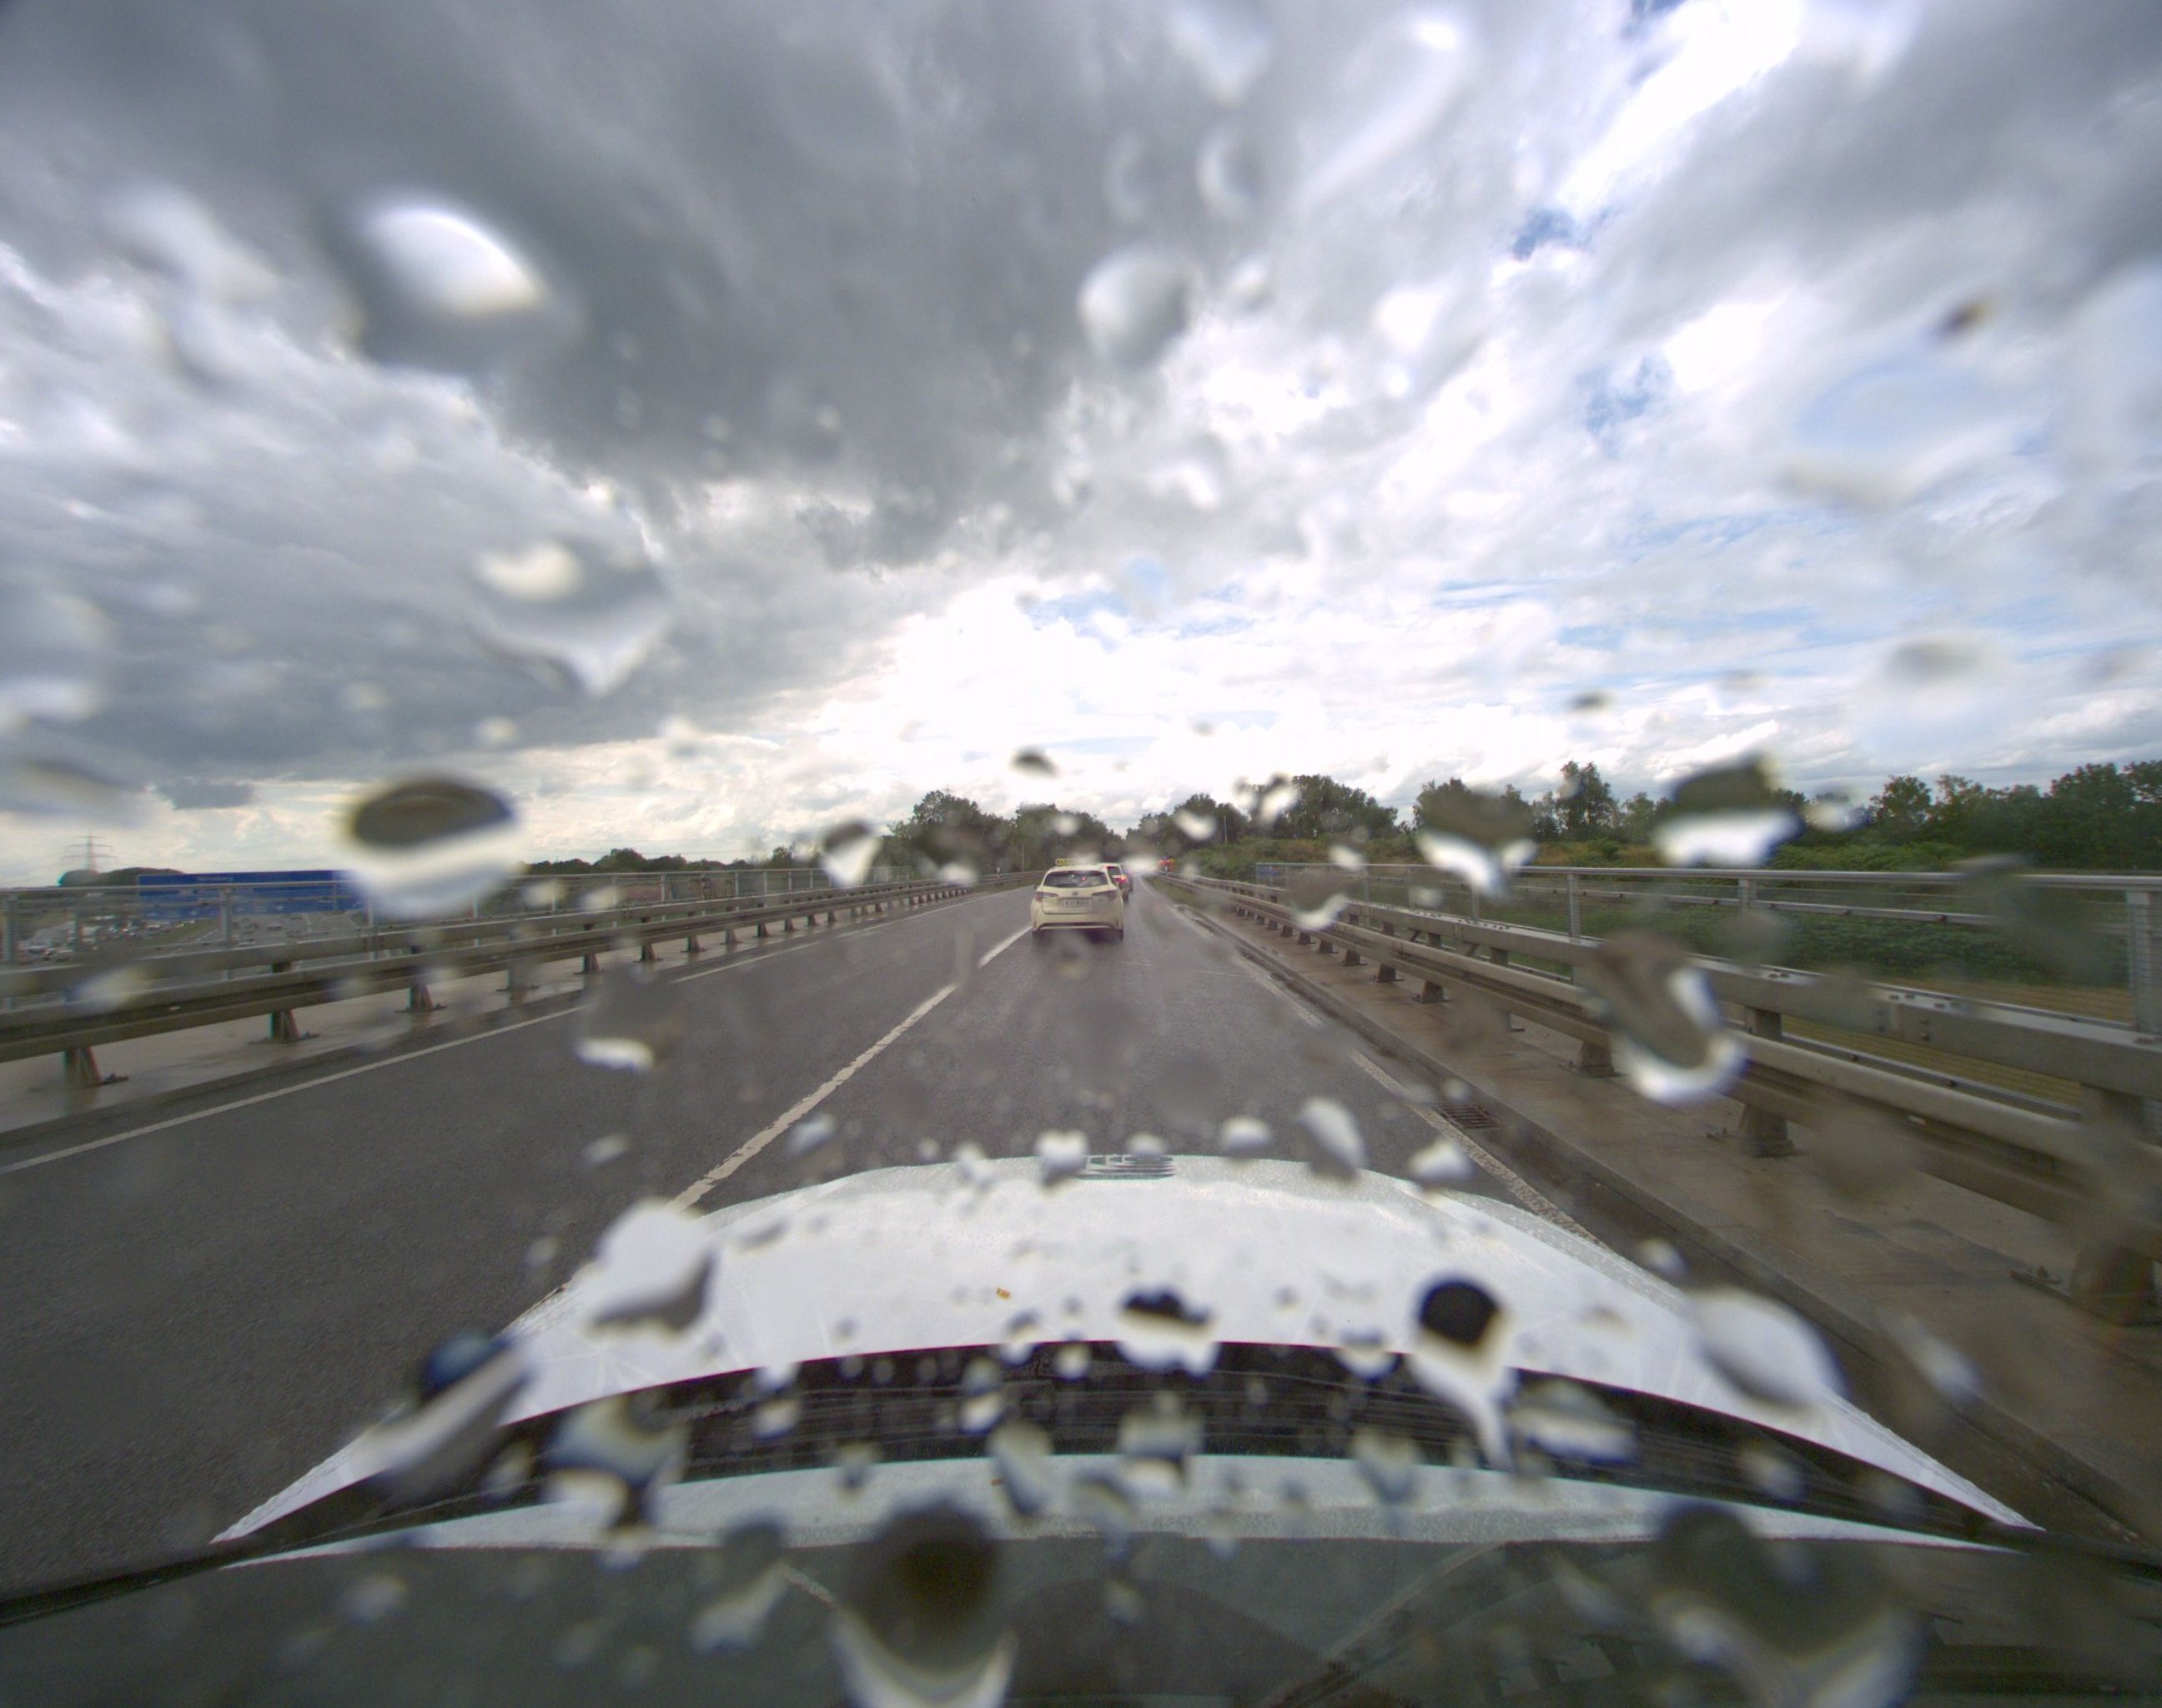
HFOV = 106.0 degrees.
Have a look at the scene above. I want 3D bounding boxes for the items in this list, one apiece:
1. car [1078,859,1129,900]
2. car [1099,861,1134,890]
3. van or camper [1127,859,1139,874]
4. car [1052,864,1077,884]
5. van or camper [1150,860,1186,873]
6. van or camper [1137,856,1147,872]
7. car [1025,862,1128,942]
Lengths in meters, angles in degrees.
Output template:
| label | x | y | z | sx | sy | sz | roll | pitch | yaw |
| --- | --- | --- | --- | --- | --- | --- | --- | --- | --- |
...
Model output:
| label | x | y | z | sx | sy | sz | roll | pitch | yaw |
| --- | --- | --- | --- | --- | --- | --- | --- | --- | --- |
| car | 0.905 | 0.929 | 31.474 | 1.847 | 1.443 | 4.173 | 0 | 0 | 2 |
| car | 1.969 | 1.154 | 45.163 | 1.847 | 1.443 | 4.173 | 0 | 0 | 2 |
| van or camper | 10.132 | 2.512 | 159.299 | 2.322 | 2.864 | 6.313 | 0 | 0 | 4 |
| car | -1.270 | 1.549 | 63.535 | 1.707 | 1.517 | 3.861 | 0 | -2 | 2 |
| van or camper | 14.561 | 2.058 | 135.933 | 5.682 | 2.241 | 2.012 | 0 | -1 | -12 |
| van or camper | 14.245 | 2.369 | 189.989 | 2.322 | 3.563 | 6.313 | 0 | 0 | 4 |
| car | 0.005 | 0.893 | 16.842 | 1.847 | 1.394 | 4.173 | 0 | 0 | 2 |
